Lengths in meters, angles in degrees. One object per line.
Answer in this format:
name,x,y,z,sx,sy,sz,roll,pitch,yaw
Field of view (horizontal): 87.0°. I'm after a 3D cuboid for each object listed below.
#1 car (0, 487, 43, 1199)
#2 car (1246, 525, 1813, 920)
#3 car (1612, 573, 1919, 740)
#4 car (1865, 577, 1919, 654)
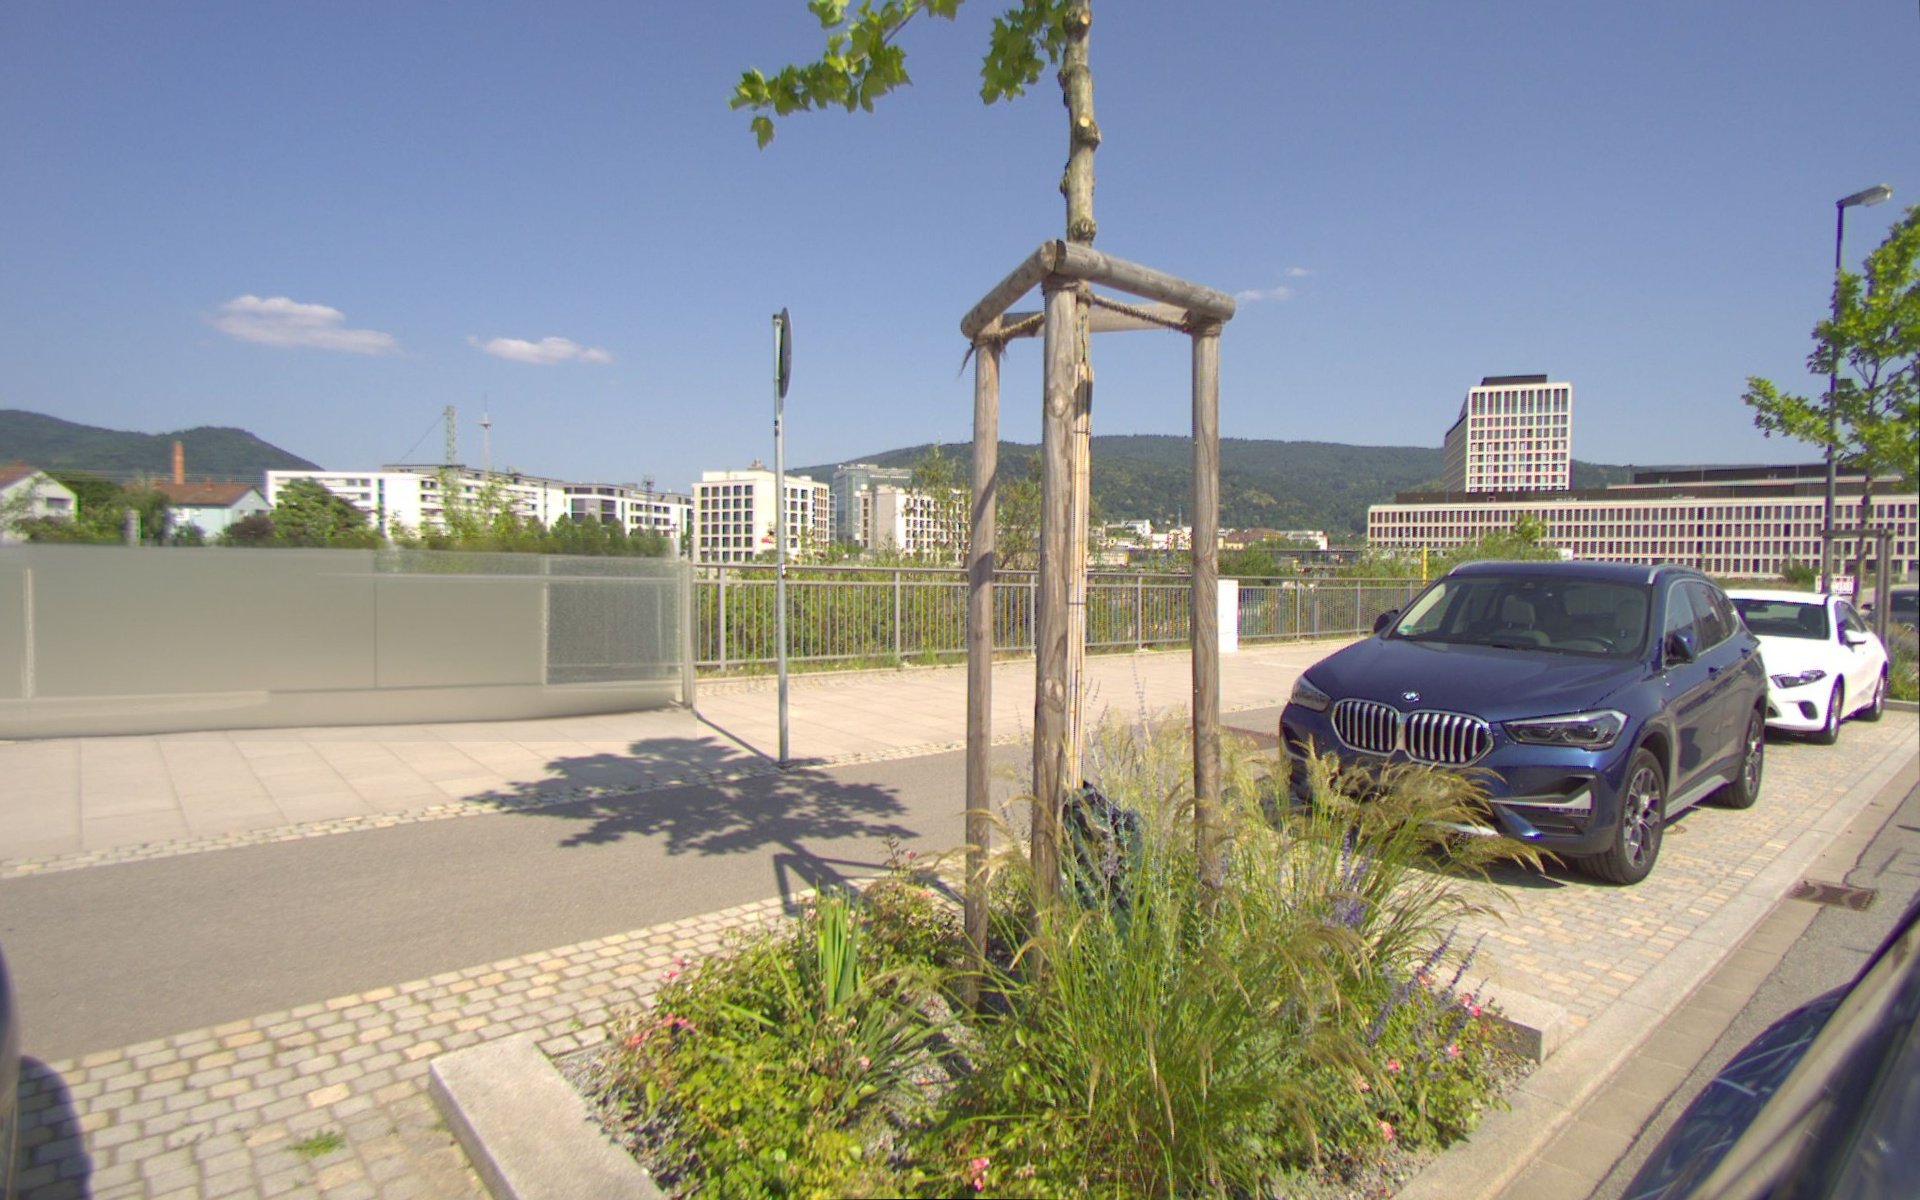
car,-2.846,0.611,0.508,3.485,1.574,1.585,0,4,-42
car,3.800,0.442,6.419,4.197,1.703,1.807,-1,4,-41
car,8.878,0.460,11.025,4.194,1.390,1.711,-1,5,-39
car,20.278,0.310,20.936,3.849,1.449,1.808,-1,5,-41
